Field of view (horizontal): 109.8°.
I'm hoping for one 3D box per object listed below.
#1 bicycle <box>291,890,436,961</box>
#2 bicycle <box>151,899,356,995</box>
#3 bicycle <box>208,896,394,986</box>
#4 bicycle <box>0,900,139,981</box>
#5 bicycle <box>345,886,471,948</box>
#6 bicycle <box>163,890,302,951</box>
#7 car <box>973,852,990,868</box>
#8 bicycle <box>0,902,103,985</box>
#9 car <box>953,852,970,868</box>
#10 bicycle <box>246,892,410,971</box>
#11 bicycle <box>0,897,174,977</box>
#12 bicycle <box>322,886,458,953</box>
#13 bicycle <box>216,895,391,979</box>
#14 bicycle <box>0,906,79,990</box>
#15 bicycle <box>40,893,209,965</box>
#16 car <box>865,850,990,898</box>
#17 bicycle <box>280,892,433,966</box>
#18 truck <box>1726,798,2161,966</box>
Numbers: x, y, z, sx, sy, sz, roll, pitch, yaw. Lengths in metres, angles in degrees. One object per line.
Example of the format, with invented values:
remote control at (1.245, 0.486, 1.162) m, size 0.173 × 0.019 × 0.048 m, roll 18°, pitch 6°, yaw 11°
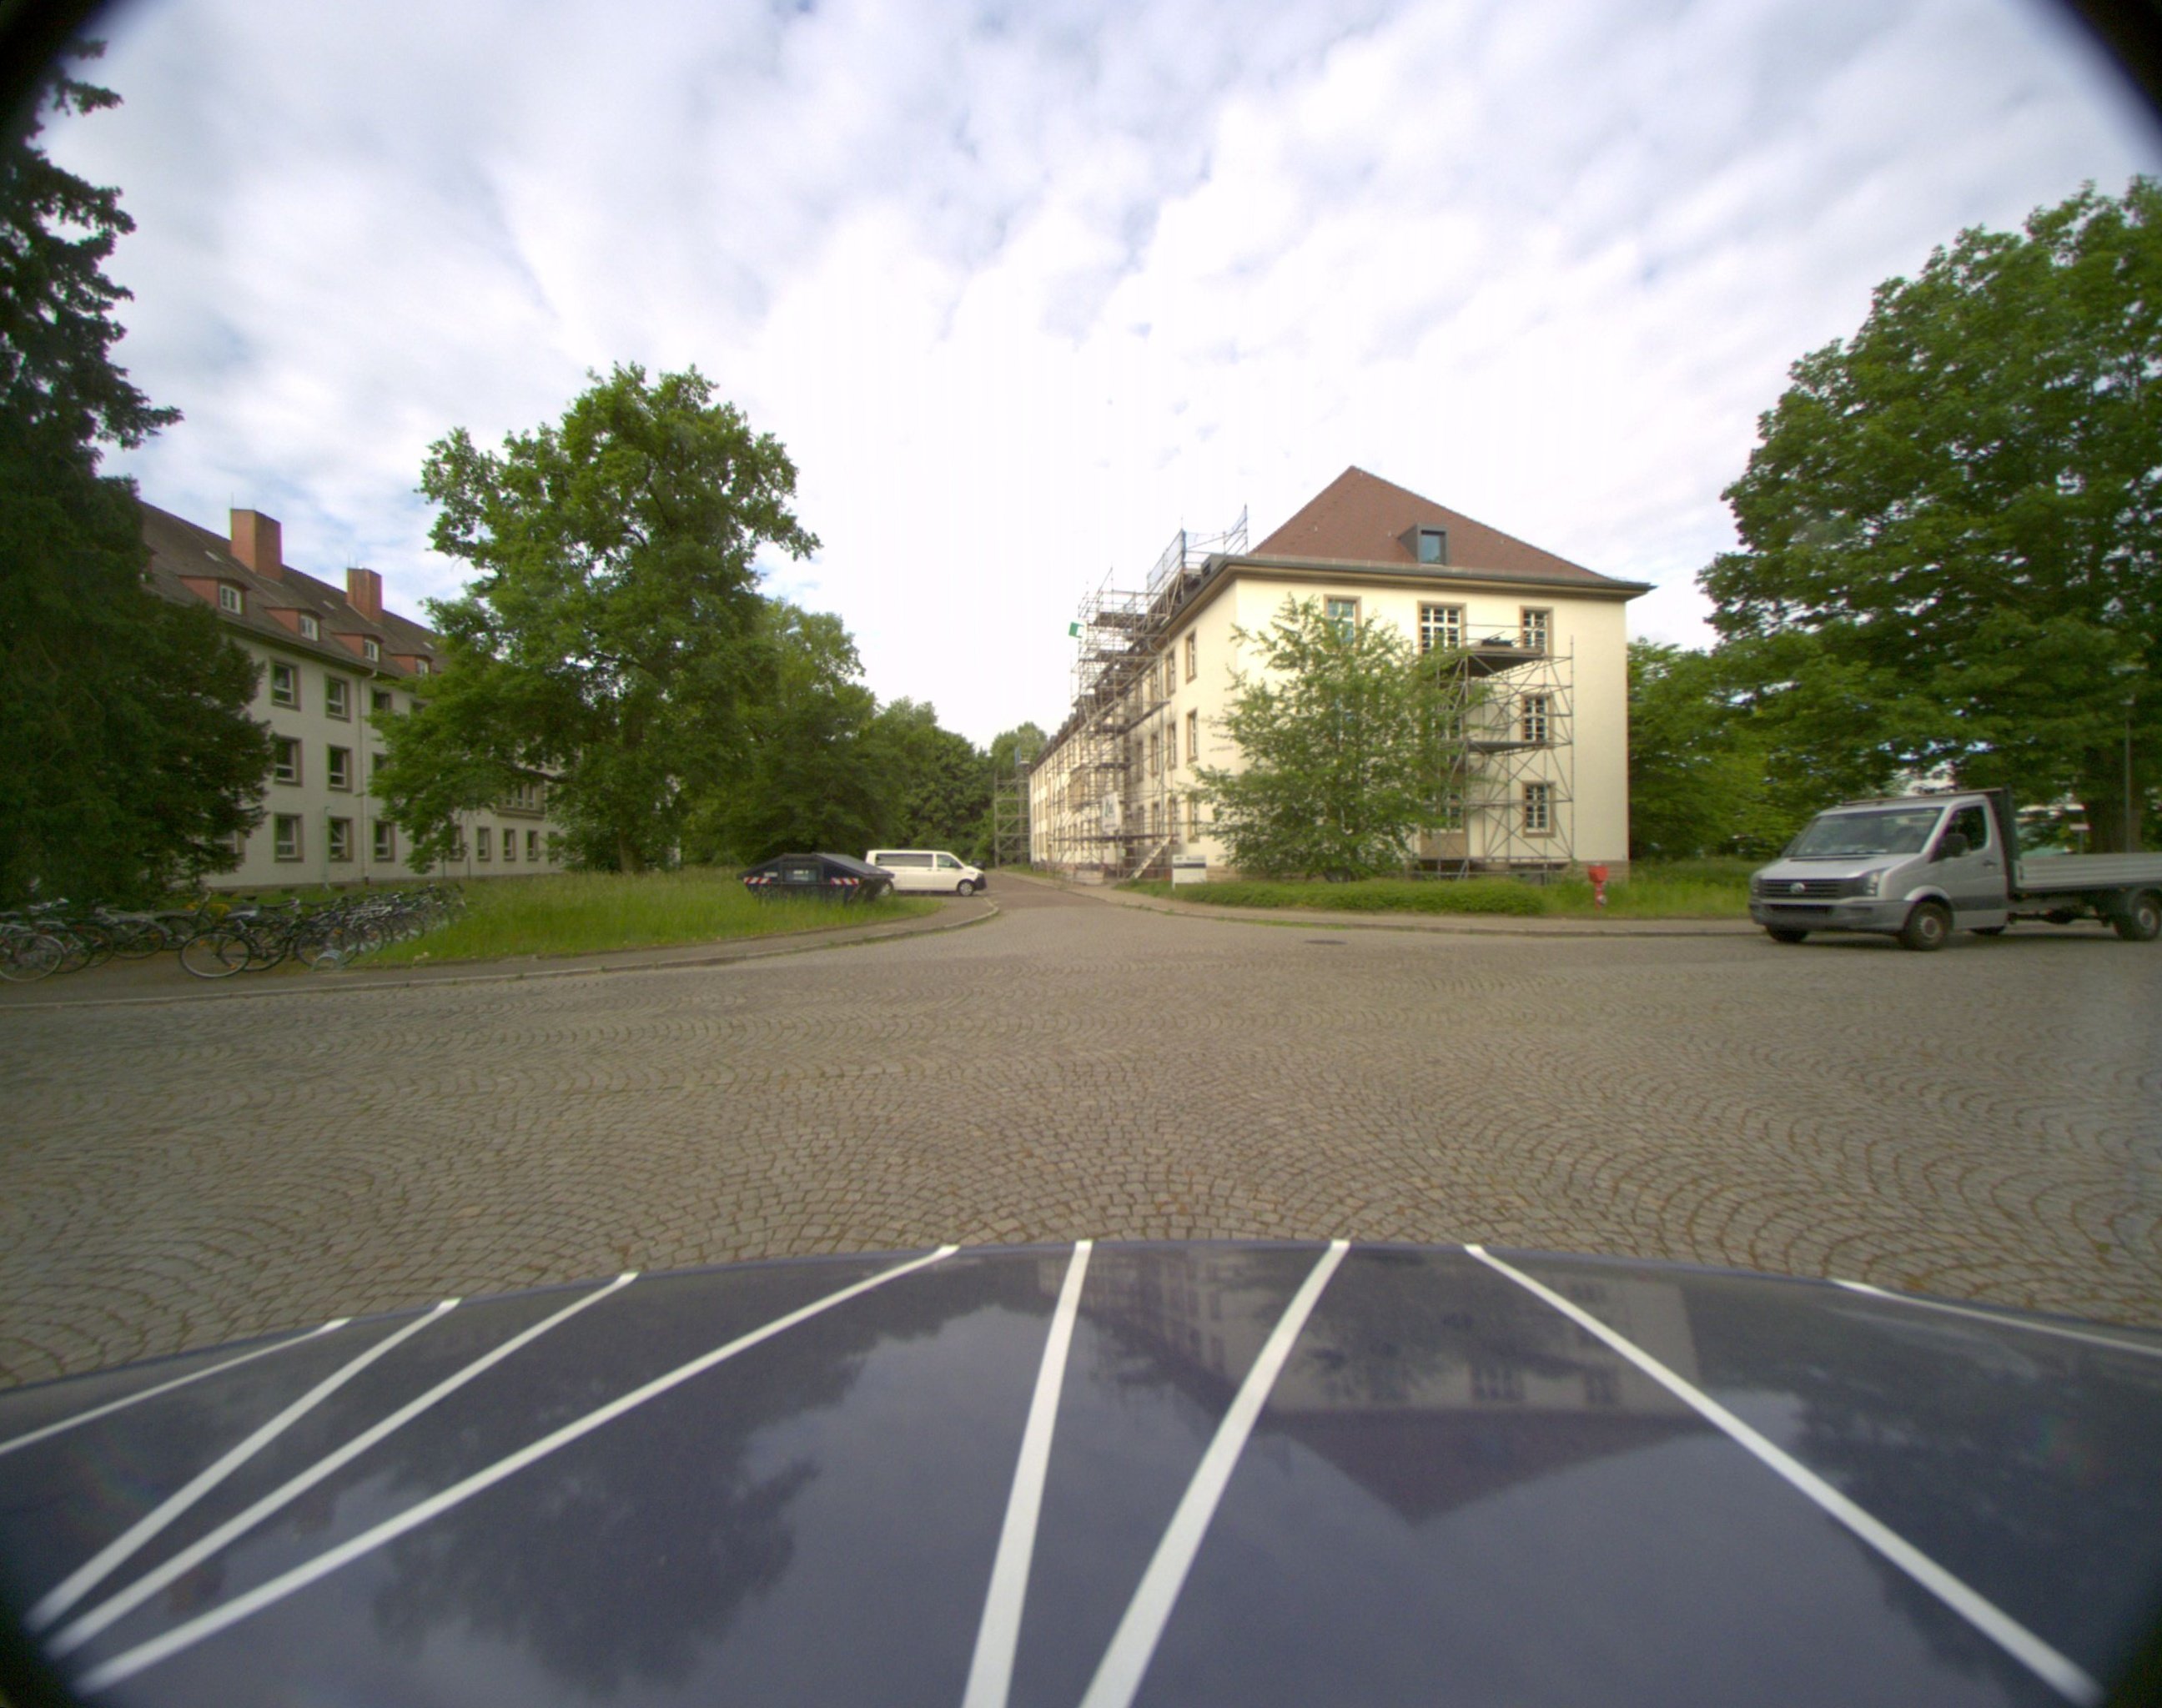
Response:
bicycle at (-13.970, 1.367, 14.864) m, size 1.942 × 1.163 × 0.487 m, roll -3°, pitch 1°, yaw -32°
bicycle at (-12.184, 1.339, 11.285) m, size 1.943 × 1.163 × 0.487 m, roll -3°, pitch 2°, yaw -38°
bicycle at (-12.193, 1.331, 11.971) m, size 1.943 × 1.163 × 0.487 m, roll -3°, pitch 2°, yaw -38°
bicycle at (-16.601, 1.377, 12.141) m, size 1.862 × 1.163 × 0.487 m, roll -2°, pitch 1°, yaw -31°
bicycle at (-14.664, 1.343, 16.617) m, size 1.942 × 1.163 × 0.536 m, roll -3°, pitch 1°, yaw -26°
bicycle at (-17.137, 1.322, 15.383) m, size 1.861 × 1.163 × 0.487 m, roll 1°, pitch 0°, yaw -20°
car at (-13.061, 0.749, 99.304) m, size 1.964 × 2.002 × 4.256 m, roll 0°, pitch 0°, yaw -11°
bicycle at (-16.350, 1.374, 11.464) m, size 1.863 × 1.163 × 0.487 m, roll -2°, pitch 1°, yaw -36°
car at (-15.516, 0.790, 98.613) m, size 1.964 × 2.002 × 4.256 m, roll 0°, pitch 0°, yaw -11°
bicycle at (-13.146, 1.322, 13.353) m, size 1.943 × 1.163 × 0.487 m, roll -3°, pitch 1°, yaw -35°
bicycle at (-16.879, 1.379, 12.869) m, size 1.863 × 1.163 × 0.487 m, roll -2°, pitch 1°, yaw -39°
bicycle at (-14.012, 1.301, 15.477) m, size 1.942 × 1.163 × 0.487 m, roll -3°, pitch 1°, yaw -32°
bicycle at (-12.975, 1.352, 12.762) m, size 1.943 × 1.163 × 0.487 m, roll -3°, pitch 1°, yaw -35°
bicycle at (-16.051, 1.394, 10.942) m, size 1.863 × 1.163 × 0.487 m, roll -2°, pitch 1°, yaw -36°
bicycle at (-17.705, 1.358, 14.133) m, size 1.863 × 1.163 × 0.487 m, roll -2°, pitch 1°, yaw -39°
car at (-6.605, 0.818, 33.036) m, size 5.154 × 2.002 × 1.998 m, roll 0°, pitch 1°, yaw -10°
bicycle at (-13.378, 1.352, 14.103) m, size 1.942 × 1.163 × 0.487 m, roll -3°, pitch 1°, yaw -32°
truck at (14.329, 0.365, 12.205) m, size 7.089 × 2.352 × 1.992 m, roll -1°, pitch -1°, yaw -10°
